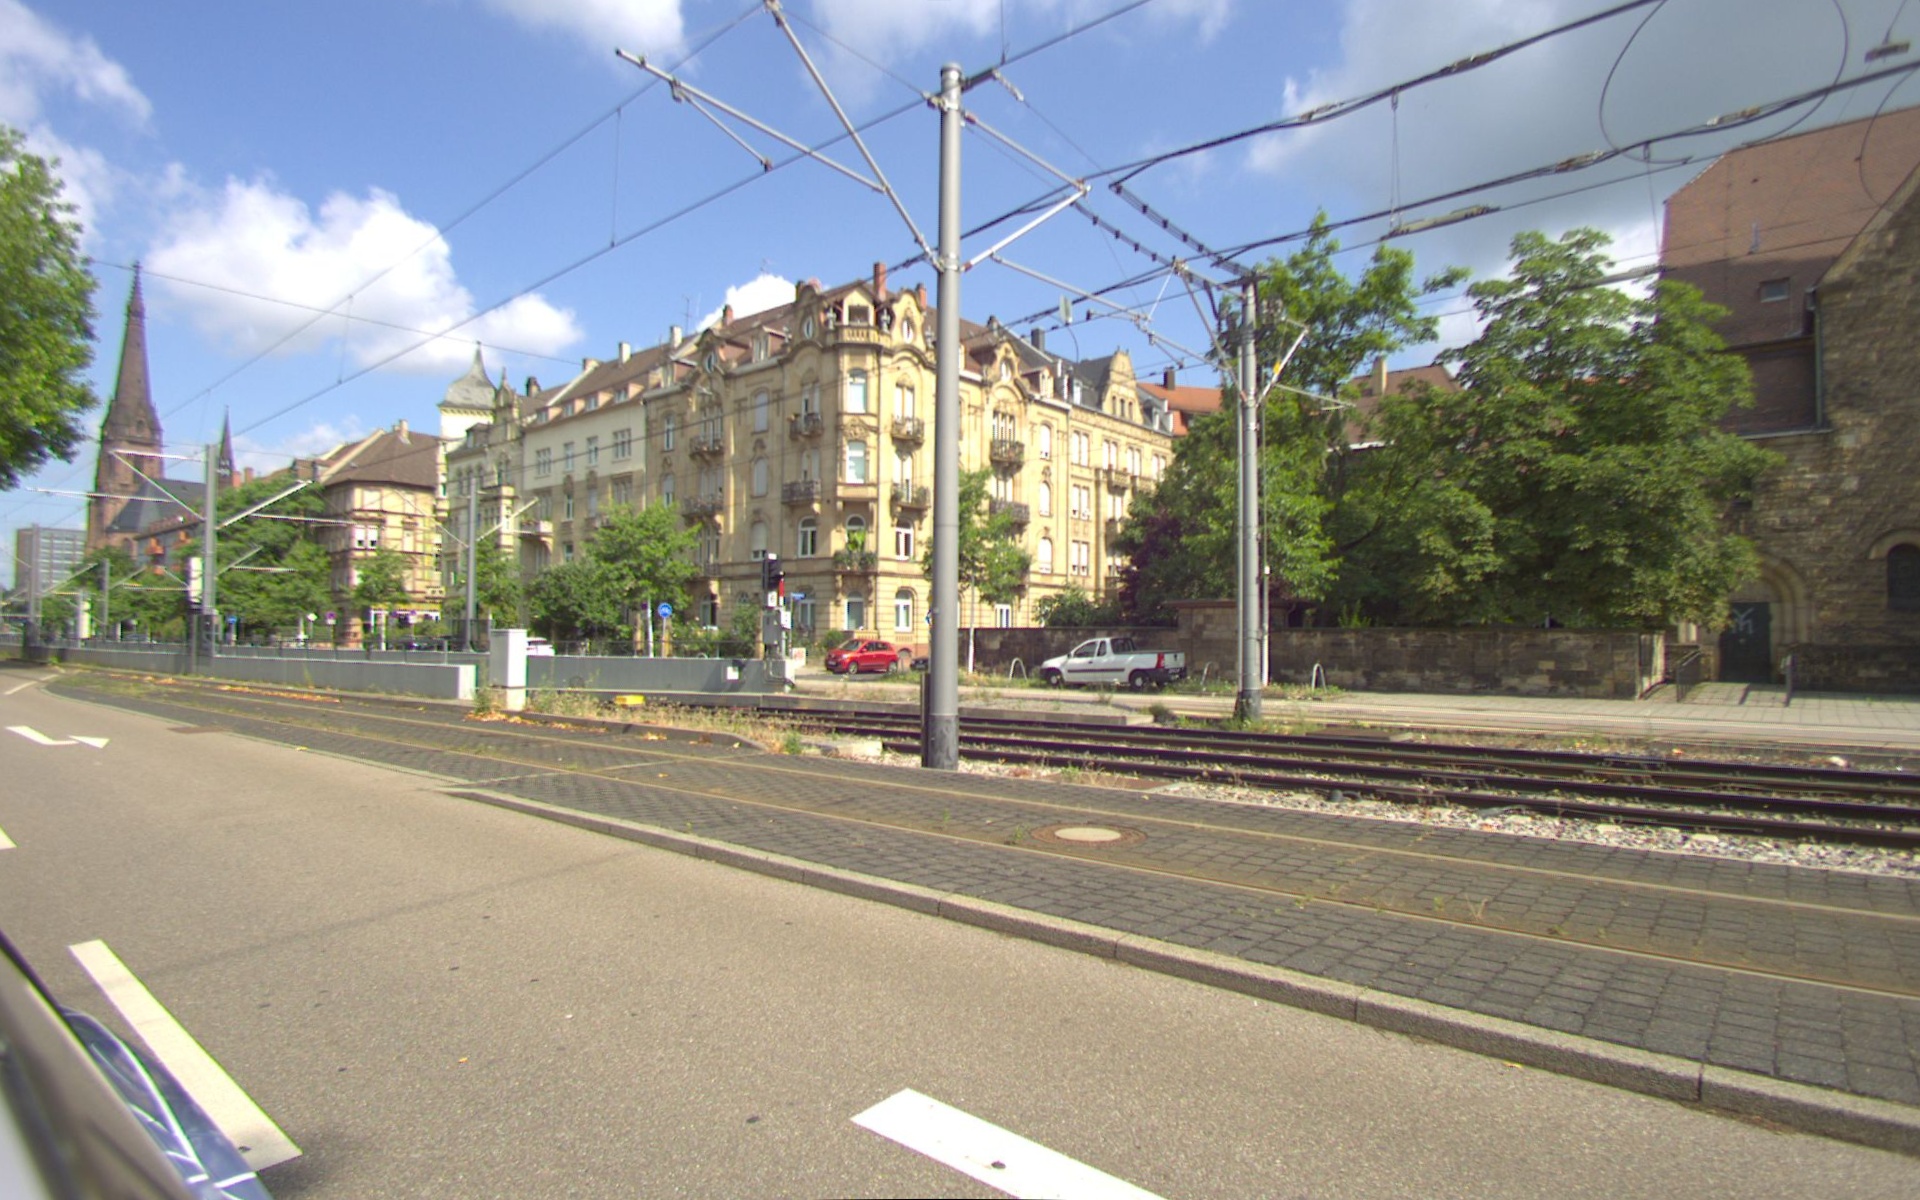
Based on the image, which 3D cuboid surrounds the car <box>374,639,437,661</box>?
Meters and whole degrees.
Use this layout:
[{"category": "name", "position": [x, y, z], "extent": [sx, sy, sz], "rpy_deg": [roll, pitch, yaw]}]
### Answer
[{"category": "car", "position": [-34.563, 3.077, 63.013], "extent": [4.723, 1.337, 1.928], "rpy_deg": [-2, -3, 41]}]

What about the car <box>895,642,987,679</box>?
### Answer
[{"category": "car", "position": [-0.752, 2.515, 42.359], "extent": [1.722, 1.475, 3.921], "rpy_deg": [-2, -3, 41]}]

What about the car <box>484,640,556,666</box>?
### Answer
[{"category": "car", "position": [-23.416, 2.785, 53.815], "extent": [4.308, 1.338, 1.734], "rpy_deg": [-2, -3, 39]}]

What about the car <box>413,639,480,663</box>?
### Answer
[{"category": "car", "position": [-30.202, 2.965, 59.530], "extent": [4.095, 1.337, 2.000], "rpy_deg": [-2, -3, 39]}]

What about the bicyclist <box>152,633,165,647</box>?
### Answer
[{"category": "bicyclist", "position": [-77.799, 3.870, 98.256], "extent": [1.048, 1.348, 0.759], "rpy_deg": [-2, -5, 41]}]

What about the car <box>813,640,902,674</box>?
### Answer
[{"category": "car", "position": [-4.680, 2.611, 46.580], "extent": [1.933, 1.475, 3.738], "rpy_deg": [-2, -3, 43]}]

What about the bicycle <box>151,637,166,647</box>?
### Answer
[{"category": "bicycle", "position": [-77.865, 4.069, 98.305], "extent": [2.140, 0.986, 0.768], "rpy_deg": [-2, -5, 41]}]

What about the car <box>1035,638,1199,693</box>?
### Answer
[{"category": "car", "position": [4.573, 1.869, 29.830], "extent": [4.409, 1.516, 1.912], "rpy_deg": [-2, -3, 39]}]

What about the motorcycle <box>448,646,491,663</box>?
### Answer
[{"category": "motorcycle", "position": [-27.903, 3.104, 57.555], "extent": [1.416, 0.949, 1.743], "rpy_deg": [-2, -5, 39]}]

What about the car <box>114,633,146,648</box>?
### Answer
[{"category": "car", "position": [-91.941, 4.475, 112.130], "extent": [4.111, 1.650, 1.973], "rpy_deg": [-2, -3, 40]}]
